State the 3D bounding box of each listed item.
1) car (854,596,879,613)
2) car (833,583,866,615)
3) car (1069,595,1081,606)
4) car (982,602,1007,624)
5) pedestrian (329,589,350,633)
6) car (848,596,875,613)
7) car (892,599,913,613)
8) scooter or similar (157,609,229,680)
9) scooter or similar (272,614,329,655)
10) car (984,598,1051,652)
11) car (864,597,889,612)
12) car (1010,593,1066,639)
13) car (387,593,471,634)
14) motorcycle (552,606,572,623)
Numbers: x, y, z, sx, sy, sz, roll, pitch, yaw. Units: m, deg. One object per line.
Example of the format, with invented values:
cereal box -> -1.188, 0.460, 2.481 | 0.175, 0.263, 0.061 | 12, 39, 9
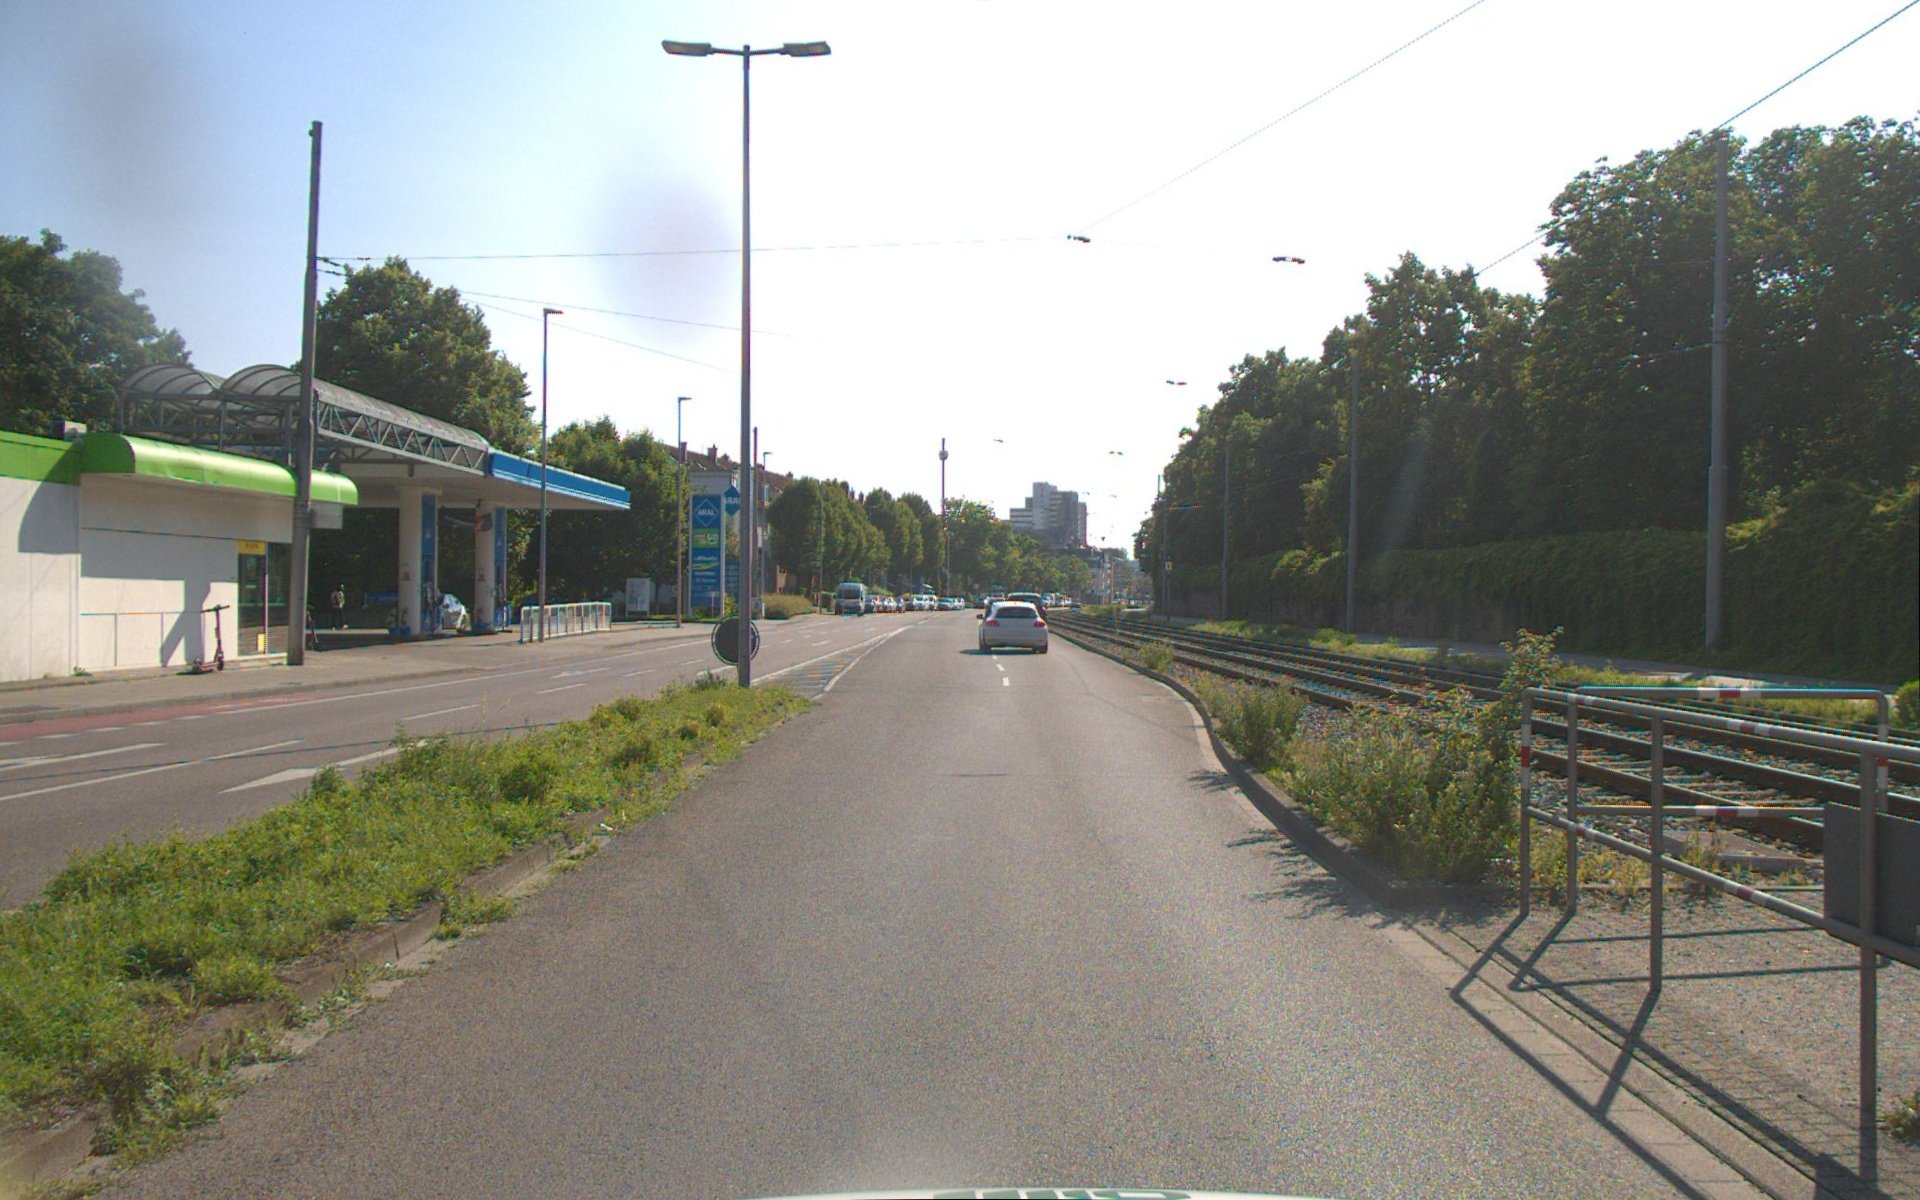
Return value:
car -> -8.426, 0.386, 149.406 | 1.952, 1.441, 3.845 | 0, 0, 2
car -> -8.565, -0.069, 128.204 | 1.952, 2.418, 4.540 | 0, 0, 3
car -> 17.479, 0.097, 251.452 | 1.688, 1.620, 3.603 | 2, 0, 6
car -> 2.491, 0.925, 119.749 | 1.713, 1.511, 3.601 | 2, 0, 1
pedestrian -> -24.872, 0.446, 66.303 | 0.650, 1.758, 0.847 | 0, 0, -12
car -> -8.508, 0.349, 143.434 | 1.952, 1.441, 3.845 | 0, 0, 2
car -> -6.123, 0.653, 177.783 | 1.952, 1.441, 3.845 | 0, 0, 2
scooter or similar -> -13.724, 0.780, 29.633 | 0.521, 1.194, 1.310 | 5, 0, 3
scooter or similar -> -16.632, 0.868, 41.699 | 1.233, 1.004, 0.499 | 0, 0, 0
car -> 1.573, 0.666, 46.264 | 1.744, 1.380, 3.601 | 2, 0, 0
car -> -7.800, 0.420, 155.300 | 1.952, 1.441, 3.845 | 0, 0, 2
car -> 2.915, 0.585, 62.582 | 1.690, 1.620, 3.598 | 2, 0, -4
car -> -19.010, 0.467, 59.385 | 1.708, 1.418, 4.120 | 0, 0, -1
motorcycle -> -22.288, 0.808, 92.656 | 0.657, 0.917, 1.671 | 0, 0, 1
